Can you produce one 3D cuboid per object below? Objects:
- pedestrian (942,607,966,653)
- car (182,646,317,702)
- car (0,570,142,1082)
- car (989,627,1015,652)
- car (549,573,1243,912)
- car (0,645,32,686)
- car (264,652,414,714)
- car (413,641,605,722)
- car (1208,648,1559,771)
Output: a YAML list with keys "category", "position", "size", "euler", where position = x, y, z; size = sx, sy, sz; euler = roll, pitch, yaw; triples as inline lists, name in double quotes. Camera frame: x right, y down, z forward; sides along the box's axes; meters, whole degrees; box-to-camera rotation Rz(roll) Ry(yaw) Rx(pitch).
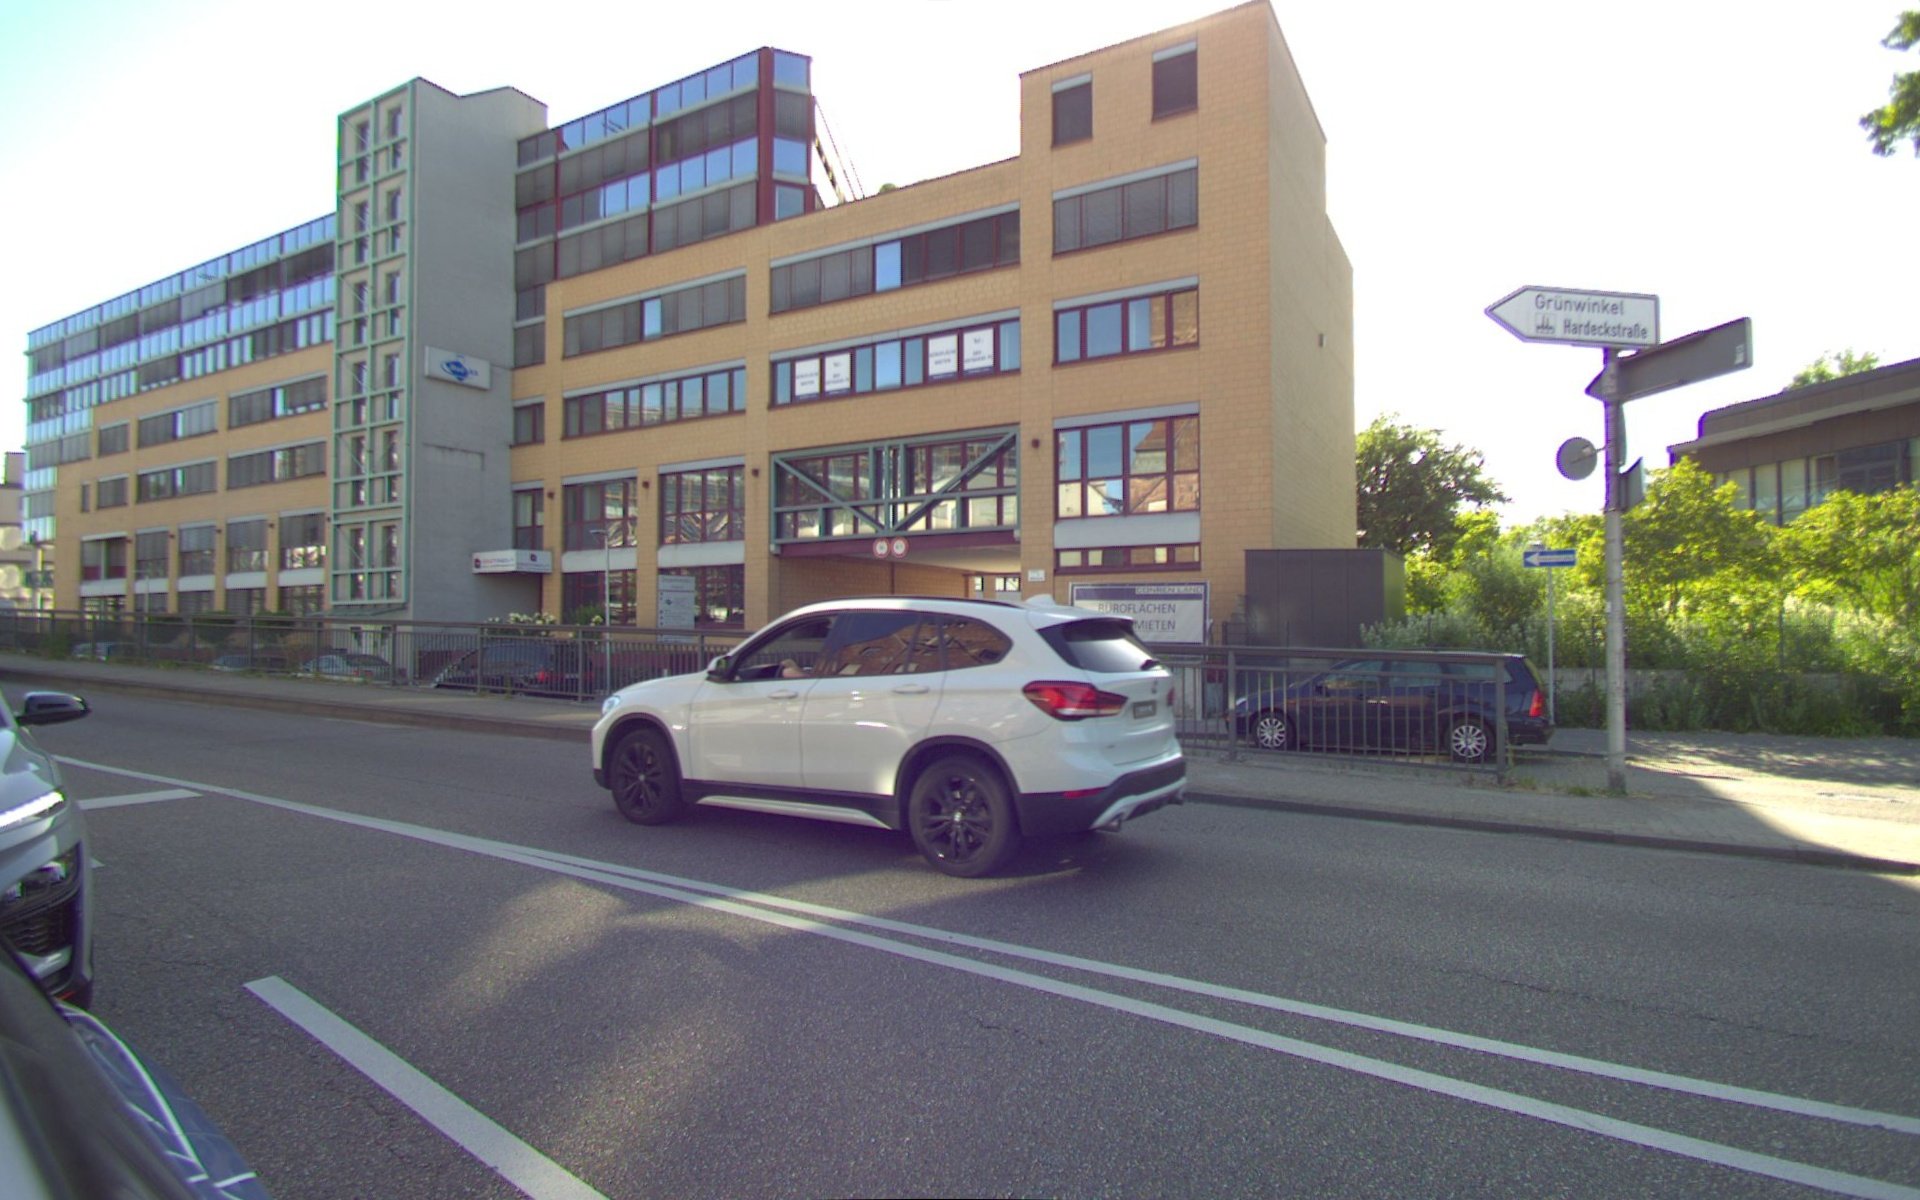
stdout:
- category: "pedestrian"
  position: [-0.254, 1.249, 42.121]
  size: [0.676, 1.858, 0.779]
  euler: [-2, -3, 28]
- category: "car"
  position: [-22.274, 2.256, 31.712]
  size: [4.340, 1.616, 1.807]
  euler: [-1, -3, 30]
- category: "car"
  position: [-4.922, 0.710, 4.097]
  size: [4.219, 1.582, 1.825]
  euler: [-1, -1, 42]
- category: "car"
  position: [2.758, 2.600, 66.727]
  size: [1.621, 1.586, 3.150]
  euler: [-1, -2, 2]
- category: "car"
  position: [-0.596, 0.768, 7.004]
  size: [4.613, 1.666, 1.819]
  euler: [-1, -3, 32]
- category: "car"
  position: [-41.478, 2.785, 43.098]
  size: [3.988, 1.674, 1.977]
  euler: [-1, -3, 33]
- category: "car"
  position: [-17.734, 2.309, 28.860]
  size: [4.340, 1.616, 1.807]
  euler: [-1, -3, 30]
- category: "car"
  position: [-11.146, 1.928, 24.939]
  size: [4.667, 1.771, 1.938]
  euler: [-1, -1, 29]
- category: "car"
  position: [6.065, 1.466, 14.690]
  size: [4.438, 1.515, 1.805]
  euler: [-2, -3, 33]
